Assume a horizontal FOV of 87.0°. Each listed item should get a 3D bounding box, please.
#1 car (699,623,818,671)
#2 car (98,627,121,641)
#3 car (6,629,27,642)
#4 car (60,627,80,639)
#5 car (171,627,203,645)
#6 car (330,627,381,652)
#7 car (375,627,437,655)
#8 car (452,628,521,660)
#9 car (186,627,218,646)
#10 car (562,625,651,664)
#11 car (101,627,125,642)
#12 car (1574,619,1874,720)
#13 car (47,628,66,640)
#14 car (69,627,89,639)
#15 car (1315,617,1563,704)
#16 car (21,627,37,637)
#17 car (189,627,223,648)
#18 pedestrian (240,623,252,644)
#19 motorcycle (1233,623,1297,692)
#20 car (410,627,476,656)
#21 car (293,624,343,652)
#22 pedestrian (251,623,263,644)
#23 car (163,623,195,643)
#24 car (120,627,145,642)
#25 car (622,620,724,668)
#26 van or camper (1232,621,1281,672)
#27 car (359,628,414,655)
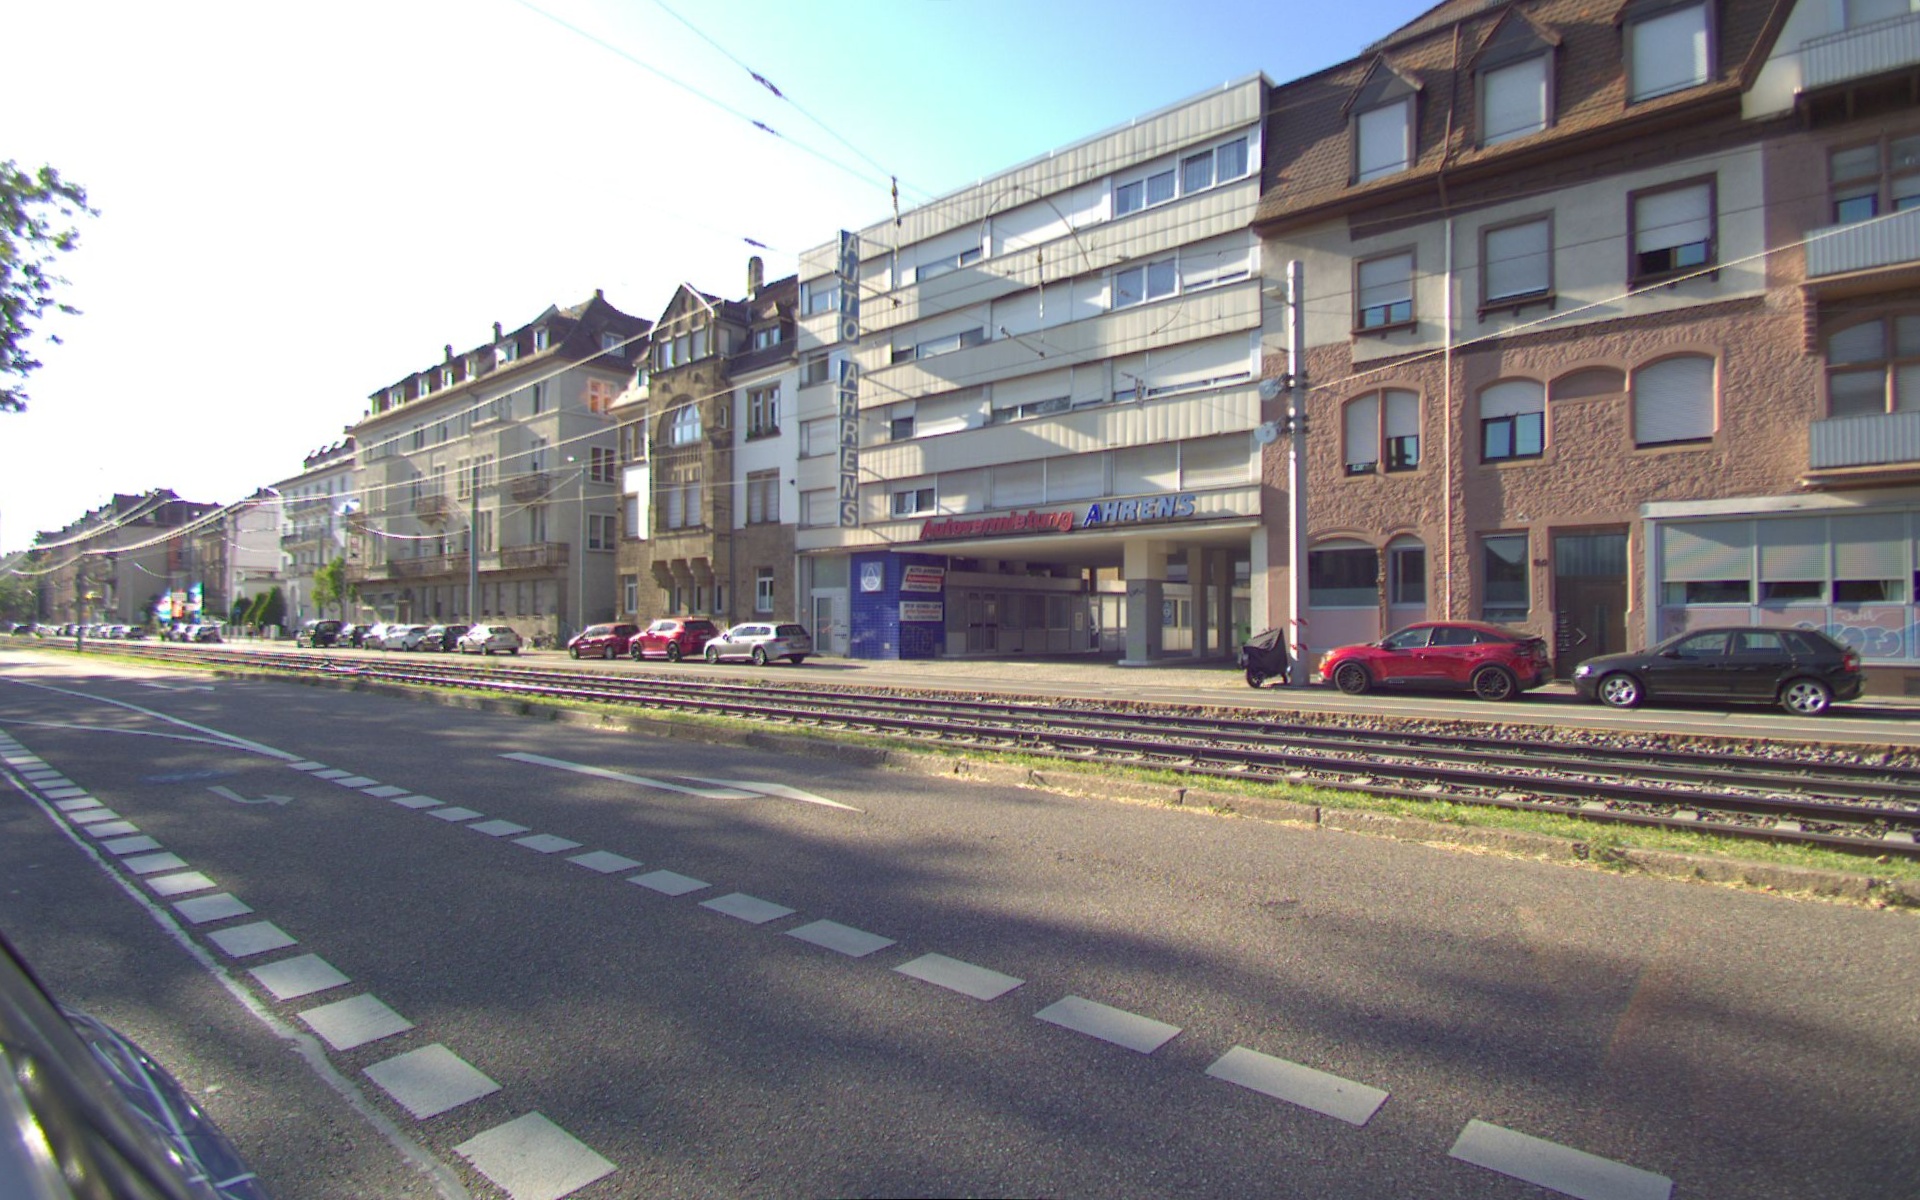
[{"bbox_3d":[-7.174,1.629,35.804,4.379,1.510,1.837,-2,0,41],"label":"car"},{"bbox_3d":[-100.609,4.048,119.654,3.449,1.602,1.603,-1,-1,42],"label":"car"},{"bbox_3d":[-129.390,4.849,138.791,3.999,1.697,1.798,-2,-2,42],"label":"car"},{"bbox_3d":[-122.519,4.502,139.325,3.449,1.602,1.603,-1,-1,42],"label":"car"},{"bbox_3d":[-70.342,3.287,92.067,3.387,1.583,1.662,-1,0,42],"label":"car"},{"bbox_3d":[-38.601,2.518,64.604,3.822,1.490,1.778,-2,-1,42],"label":"car"},{"bbox_3d":[-31.094,2.302,56.804,3.531,1.457,1.624,-1,-1,35],"label":"car"},{"bbox_3d":[-23.759,2.176,50.744,3.822,1.490,1.778,-2,-1,42],"label":"car"},{"bbox_3d":[-66.805,3.229,89.174,3.387,1.583,1.662,-1,0,42],"label":"car"},{"bbox_3d":[-14.952,1.862,42.773,3.722,1.507,1.736,-2,0,36],"label":"car"},{"bbox_3d":[-96.852,3.926,115.751,3.449,1.602,1.603,-1,-1,42],"label":"car"},{"bbox_3d":[12.925,1.109,17.301,3.925,1.448,1.678,-2,1,41],"label":"car"},{"bbox_3d":[-128.562,4.782,143.977,3.449,1.602,1.603,-1,-1,42],"label":"car"},{"bbox_3d":[-118.679,4.402,136.263,3.449,1.602,1.603,-1,-1,42],"label":"car"},{"bbox_3d":[9.673,1.171,20.601,4.208,1.510,1.837,-2,1,41],"label":"car"},{"bbox_3d":[-156.185,5.328,169.745,3.449,1.602,1.603,-1,-1,42],"label":"car"},{"bbox_3d":[-63.209,3.131,84.797,3.407,1.644,1.655,-2,-1,42],"label":"car"},{"bbox_3d":[-61.660,2.917,87.387,0.677,1.803,0.716,-2,-2,41],"label":"pedestrian"},{"bbox_3d":[6.999,1.289,23.164,0.628,1.433,1.835,-3,-1,42],"label":"motorcycle"},{"bbox_3d":[-27.785,2.220,54.359,3.820,1.441,1.779,-2,-1,40],"label":"car"},{"bbox_3d":[-43.064,2.546,67.900,3.914,1.750,1.851,-2,-1,42],"label":"car"},{"bbox_3d":[-61.121,2.918,87.982,0.677,1.803,0.716,-2,-2,41],"label":"pedestrian"},{"bbox_3d":[-74.427,3.150,96.385,3.879,1.800,1.705,-1,-1,42],"label":"car"},{"bbox_3d":[-89.823,3.724,109.826,3.449,1.602,1.603,-1,-1,42],"label":"car"},{"bbox_3d":[-11.190,1.666,39.343,4.262,1.700,1.836,-2,0,43],"label":"car"},{"bbox_3d":[8.317,1.291,28.397,0.803,1.368,1.409,-2,-2,41],"label":"van or camper"},{"bbox_3d":[-34.343,2.443,60.552,3.822,1.490,1.778,-2,-1,42],"label":"car"}]
